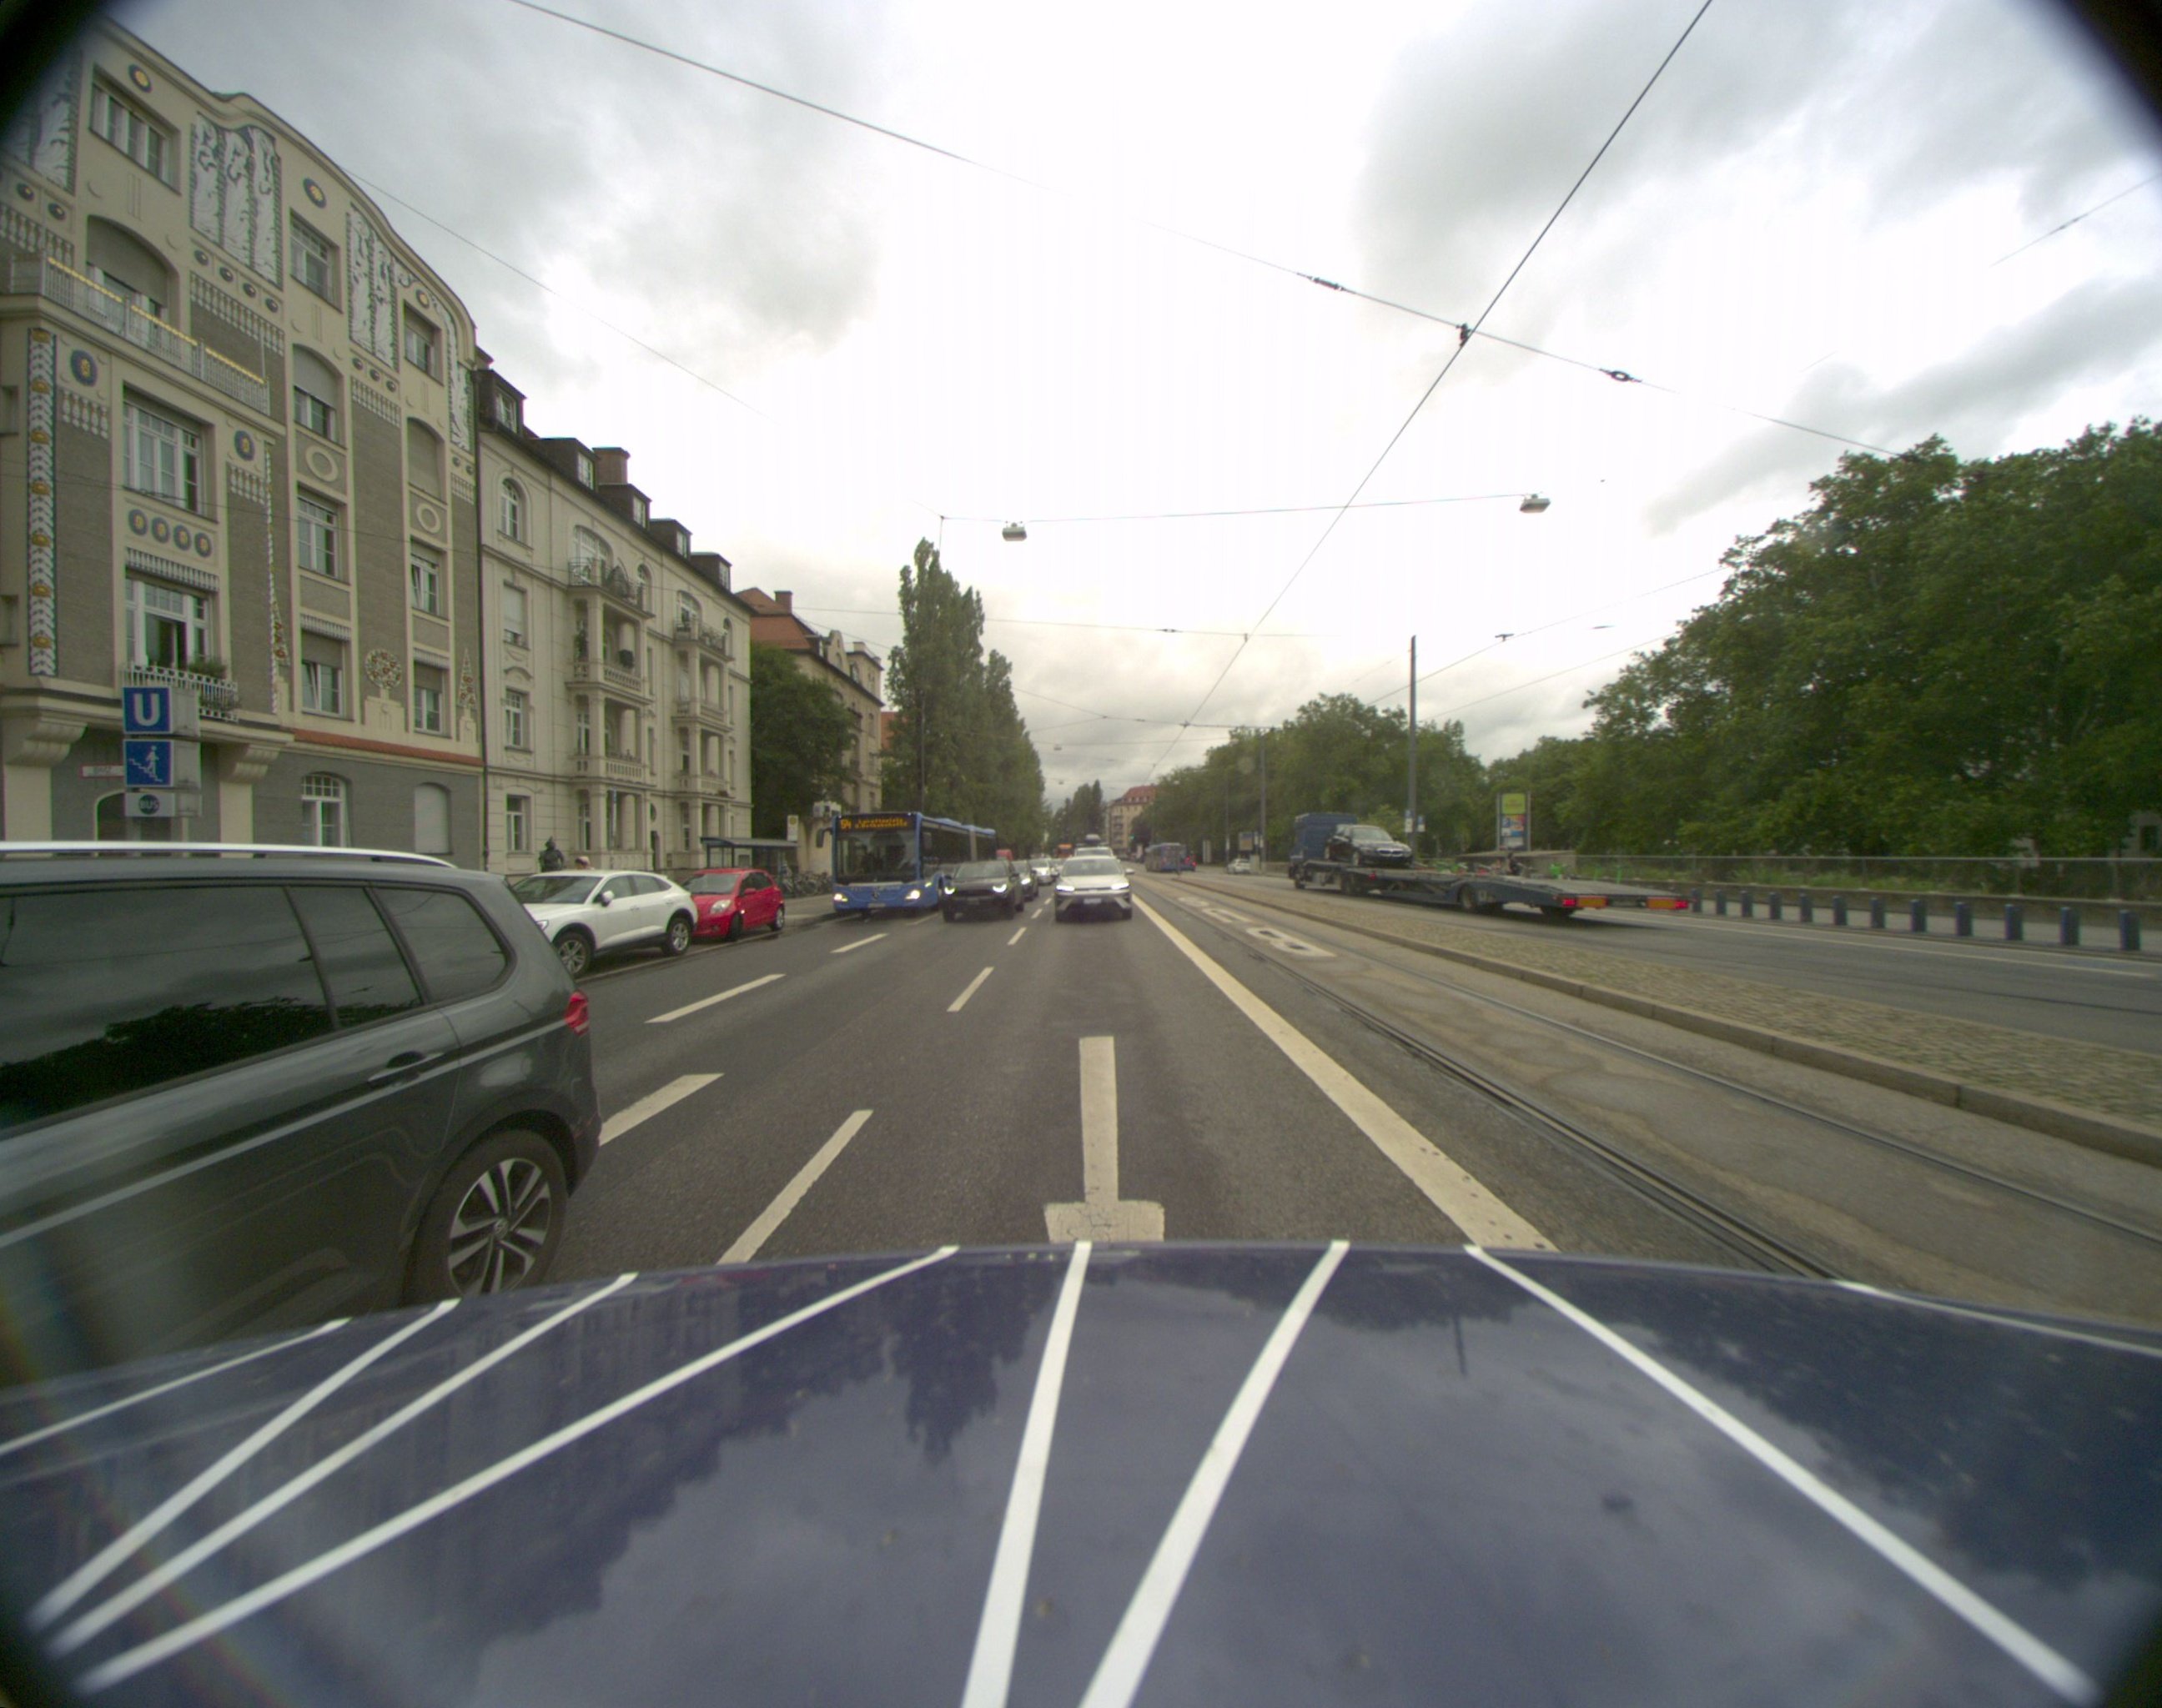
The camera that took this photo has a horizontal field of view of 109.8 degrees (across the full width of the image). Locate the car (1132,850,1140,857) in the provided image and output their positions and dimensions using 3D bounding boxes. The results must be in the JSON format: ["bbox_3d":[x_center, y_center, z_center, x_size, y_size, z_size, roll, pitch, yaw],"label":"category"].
[{"bbox_3d":[12.804,-0.173,177.085,1.809,1.674,4.000,-1,0,0],"label":"car"}]

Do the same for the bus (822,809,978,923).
[{"bbox_3d":[-5.495,0.304,25.123,2.637,2.956,9.466,-3,0,1],"label":"bus"}]

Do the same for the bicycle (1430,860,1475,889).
[{"bbox_3d":[15.485,0.834,31.676,1.693,1.165,0.505,-1,1,-9],"label":"bicycle"}]

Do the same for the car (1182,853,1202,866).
[{"bbox_3d":[13.545,0.651,92.814,1.809,1.633,4.000,-1,0,0],"label":"car"}]

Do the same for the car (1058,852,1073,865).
[{"bbox_3d":[-1.802,0.493,90.277,1.704,1.513,3.632,-1,1,0],"label":"car"}]

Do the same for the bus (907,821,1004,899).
[{"bbox_3d":[-5.363,0.225,34.115,2.637,2.956,8.533,-3,0,1],"label":"bus"}]

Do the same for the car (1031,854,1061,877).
[{"bbox_3d":[-2.180,0.690,47.580,1.704,1.379,3.632,0,0,0],"label":"car"}]

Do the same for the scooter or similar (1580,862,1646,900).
[{"bbox_3d":[16.700,0.839,23.877,1.692,1.165,0.562,-1,1,-2],"label":"scooter or similar"}]

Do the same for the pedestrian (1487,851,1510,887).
[{"bbox_3d":[17.928,0.642,32.656,0.632,1.549,0.589,0,1,0],"label":"pedestrian"}]

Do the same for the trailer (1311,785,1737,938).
[{"bbox_3d":[10.226,0.093,21.302,2.617,2.667,15.637,1,0,-1],"label":"trailer"}]

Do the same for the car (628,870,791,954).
[{"bbox_3d":[-7.883,1.160,16.539,1.730,1.500,3.742,0,0,0],"label":"car"}]

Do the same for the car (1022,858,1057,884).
[{"bbox_3d":[-2.254,0.911,42.095,1.704,1.360,3.632,0,0,0],"label":"car"}]

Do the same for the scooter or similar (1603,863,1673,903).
[{"bbox_3d":[16.631,0.851,22.694,1.692,1.165,0.562,-1,1,-2],"label":"scooter or similar"}]

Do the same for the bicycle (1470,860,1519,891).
[{"bbox_3d":[16.153,0.819,29.683,1.693,1.165,0.561,-1,1,-9],"label":"bicycle"}]

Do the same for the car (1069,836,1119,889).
[{"bbox_3d":[0.556,0.336,32.685,1.998,2.100,3.999,-1,1,0],"label":"car"}]

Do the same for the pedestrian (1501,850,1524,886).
[{"bbox_3d":[18.651,0.604,32.848,0.632,1.549,0.589,0,1,0],"label":"pedestrian"}]

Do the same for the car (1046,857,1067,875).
[{"bbox_3d":[-2.091,1.057,66.229,1.704,1.513,3.632,0,0,0],"label":"car"}]

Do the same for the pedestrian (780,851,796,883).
[{"bbox_3d":[-17.426,0.741,45.181,0.609,1.885,0.673,0,1,3],"label":"pedestrian"}]

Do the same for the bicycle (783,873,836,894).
[{"bbox_3d":[-13.218,1.443,37.077,2.323,0.916,0.600,-2,1,-2],"label":"bicycle"}]

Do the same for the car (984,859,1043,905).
[{"bbox_3d":[-2.430,0.982,28.167,1.704,1.425,4.244,-3,0,0],"label":"car"}]

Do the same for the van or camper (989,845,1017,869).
[{"bbox_3d":[-7.295,0.253,71.380,2.124,2.086,5.513,-1,0,0],"label":"van or camper"}]

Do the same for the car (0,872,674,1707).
[{"bbox_3d":[-2.847,0.931,1.164,1.776,1.637,4.708,0,1,2],"label":"car"}]

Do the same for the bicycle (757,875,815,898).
[{"bbox_3d":[-13.352,1.470,34.410,2.323,0.916,0.600,-2,1,-2],"label":"bicycle"}]

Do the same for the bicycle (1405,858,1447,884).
[{"bbox_3d":[15.904,0.800,35.050,1.692,1.165,0.562,-1,1,-2],"label":"bicycle"}]

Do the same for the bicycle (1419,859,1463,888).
[{"bbox_3d":[15.436,0.829,32.609,1.693,1.165,0.561,-1,1,-9],"label":"bicycle"}]

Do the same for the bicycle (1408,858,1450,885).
[{"bbox_3d":[15.804,0.797,34.485,1.693,1.165,0.505,-1,1,-3],"label":"bicycle"}]

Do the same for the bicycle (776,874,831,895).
[{"bbox_3d":[-13.263,1.451,36.342,2.323,0.916,0.600,-2,1,-2],"label":"bicycle"}]

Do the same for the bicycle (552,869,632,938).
[{"bbox_3d":[-10.080,0.988,15.740,0.424,1.281,1.778,-1,1,2],"label":"bicycle"}]

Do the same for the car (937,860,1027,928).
[{"bbox_3d":[-2.525,0.973,20.283,1.780,1.495,3.970,-3,0,0],"label":"car"}]

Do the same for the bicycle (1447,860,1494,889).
[{"bbox_3d":[15.808,0.825,30.851,1.693,1.165,0.561,-1,1,-9],"label":"bicycle"}]

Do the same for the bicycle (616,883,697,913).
[{"bbox_3d":[-14.598,1.508,26.190,2.325,0.916,0.586,-2,1,-11],"label":"bicycle"}]

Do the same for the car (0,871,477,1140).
[{"bbox_3d":[-8.290,1.095,7.069,1.737,1.651,4.501,2,1,0],"label":"car"}]

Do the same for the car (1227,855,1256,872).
[{"bbox_3d":[15.018,0.827,71.227,1.893,1.521,4.000,0,0,1],"label":"car"}]

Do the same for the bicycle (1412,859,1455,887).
[{"bbox_3d":[15.409,0.825,33.194,1.693,1.165,0.505,-1,1,-7],"label":"bicycle"}]

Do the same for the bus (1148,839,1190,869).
[{"bbox_3d":[9.253,-0.027,81.323,2.632,2.949,13.413,1,0,-1],"label":"bus"}]

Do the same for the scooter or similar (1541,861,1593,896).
[{"bbox_3d":[16.674,0.823,26.058,1.695,1.165,0.561,-1,1,-18],"label":"scooter or similar"}]

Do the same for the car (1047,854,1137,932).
[{"bbox_3d":[0.319,0.825,18.482,1.812,1.496,4.952,-3,0,2],"label":"car"}]

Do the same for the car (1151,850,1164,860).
[{"bbox_3d":[13.031,0.191,129.632,1.809,1.674,4.000,-1,0,0],"label":"car"}]

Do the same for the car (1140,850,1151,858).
[{"bbox_3d":[13.187,-0.029,155.392,1.809,1.674,4.000,-1,0,0],"label":"car"}]

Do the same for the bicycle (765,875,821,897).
[{"bbox_3d":[-13.320,1.463,35.131,2.323,0.916,0.600,-2,1,-2],"label":"bicycle"}]

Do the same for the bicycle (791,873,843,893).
[{"bbox_3d":[-13.198,1.435,37.983,2.323,0.916,0.600,-2,1,-2],"label":"bicycle"}]

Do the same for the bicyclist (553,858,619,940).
[{"bbox_3d":[-10.087,0.897,15.518,0.681,1.594,0.939,0,1,1],"label":"bicyclist"}]

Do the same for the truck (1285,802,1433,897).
[{"bbox_3d":[10.157,-0.162,28.746,2.572,3.069,7.689,1,0,-1],"label":"truck"}]

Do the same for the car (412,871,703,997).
[{"bbox_3d":[-7.919,1.104,12.030,1.730,1.567,3.967,0,0,2],"label":"car"}]

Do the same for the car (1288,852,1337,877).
[{"bbox_3d":[15.218,0.651,50.148,1.998,1.561,4.101,-1,0,0],"label":"car"}]

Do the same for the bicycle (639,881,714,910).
[{"bbox_3d":[-14.689,1.501,27.613,2.323,0.916,0.640,-2,1,-2],"label":"bicycle"}]

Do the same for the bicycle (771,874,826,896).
[{"bbox_3d":[-13.284,1.457,35.722,2.323,0.916,0.600,-2,1,-2],"label":"bicycle"}]

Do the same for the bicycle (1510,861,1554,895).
[{"bbox_3d":[16.107,0.840,27.146,1.696,1.165,0.560,-1,1,-29],"label":"bicycle"}]

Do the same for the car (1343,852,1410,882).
[{"bbox_3d":[15.476,0.646,40.022,1.864,1.517,4.232,0,0,1],"label":"car"}]

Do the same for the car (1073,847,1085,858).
[{"bbox_3d":[-0.410,-0.380,156.136,2.465,2.178,5.455,0,1,1],"label":"car"}]

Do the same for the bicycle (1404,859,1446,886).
[{"bbox_3d":[15.336,0.823,33.892,1.693,1.165,0.505,-1,1,-6],"label":"bicycle"}]

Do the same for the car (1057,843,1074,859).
[{"bbox_3d":[-2.794,-0.564,138.398,2.806,2.836,5.114,-1,1,1],"label":"car"}]

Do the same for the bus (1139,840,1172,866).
[{"bbox_3d":[9.077,-0.122,94.435,2.632,2.949,12.843,1,0,-1],"label":"bus"}]
